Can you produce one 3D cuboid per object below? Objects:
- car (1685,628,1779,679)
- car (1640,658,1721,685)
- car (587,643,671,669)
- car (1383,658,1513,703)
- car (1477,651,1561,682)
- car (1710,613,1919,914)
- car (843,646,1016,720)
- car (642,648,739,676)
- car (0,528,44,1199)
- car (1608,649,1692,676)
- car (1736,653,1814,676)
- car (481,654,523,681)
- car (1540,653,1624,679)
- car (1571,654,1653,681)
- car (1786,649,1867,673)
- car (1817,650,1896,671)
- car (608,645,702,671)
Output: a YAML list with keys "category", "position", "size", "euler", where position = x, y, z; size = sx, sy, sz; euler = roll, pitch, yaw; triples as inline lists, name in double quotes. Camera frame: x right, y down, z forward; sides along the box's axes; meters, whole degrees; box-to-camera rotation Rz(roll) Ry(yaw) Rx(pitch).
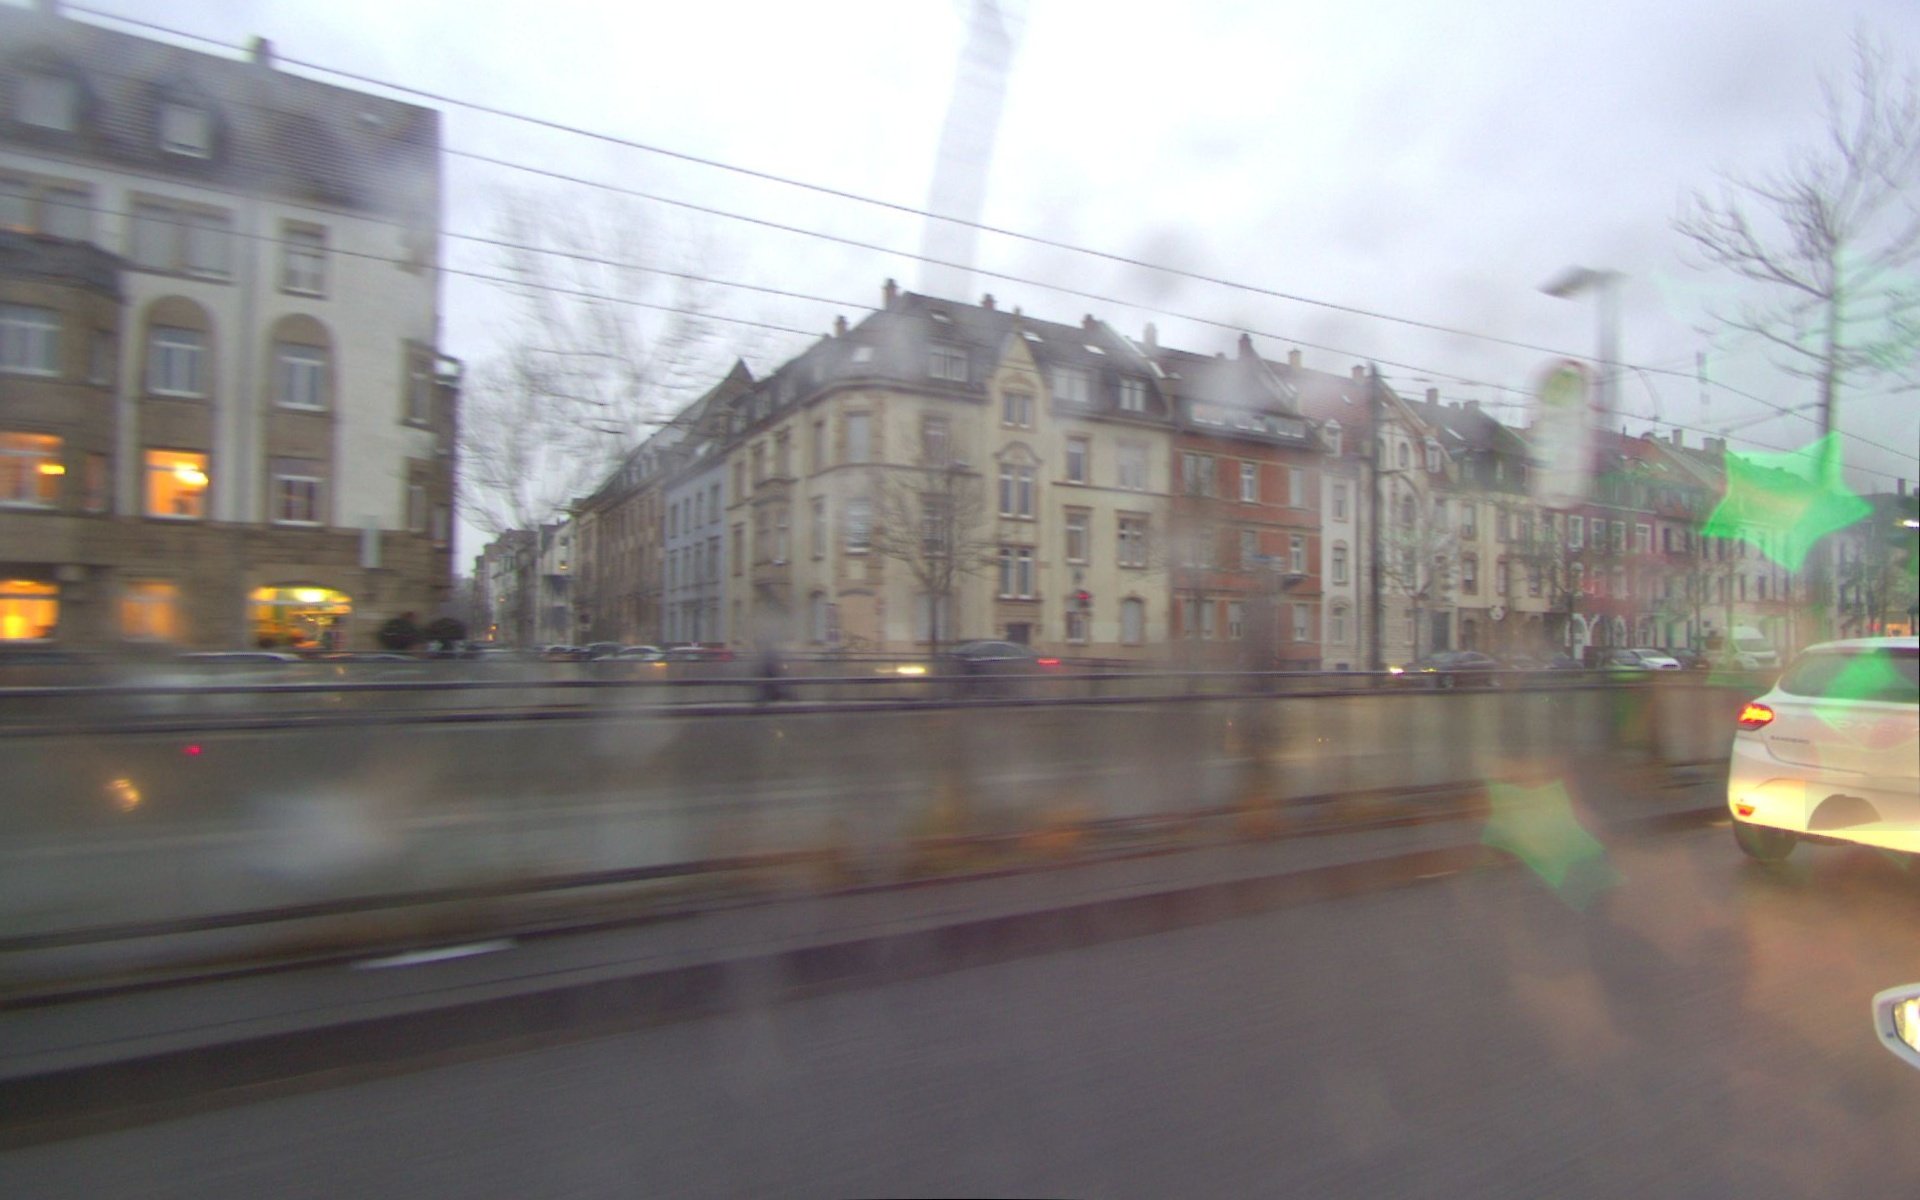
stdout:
- category: "car"
  position: [45.457, 3.153, 59.325]
  size: [1.959, 2.834, 5.872]
  euler: [0, -3, 12]
- category: "car"
  position: [39.594, 3.901, 55.343]
  size: [1.959, 1.349, 4.004]
  euler: [0, -3, 8]
- category: "car"
  position: [-18.179, 3.092, 55.222]
  size: [3.920, 1.227, 1.872]
  euler: [2, -3, 3]
- category: "car"
  position: [17.314, 2.803, 35.601]
  size: [4.644, 1.472, 1.856]
  euler: [2, -3, -30]
- category: "car"
  position: [25.769, 3.043, 46.437]
  size: [1.959, 1.349, 4.003]
  euler: [0, -3, 6]
- category: "car"
  position: [6.838, 0.943, 6.575]
  size: [4.006, 1.621, 1.664]
  euler: [2, -1, -30]
- category: "car"
  position: [-0.748, 2.029, 25.317]
  size: [3.953, 1.659, 1.856]
  euler: [2, -1, -30]
- category: "car"
  position: [-11.993, 2.778, 44.970]
  size: [3.925, 1.227, 1.869]
  euler: [0, -3, -7]
- category: "car"
  position: [-3.561, 0.586, 0.666]
  size: [4.006, 1.621, 1.801]
  euler: [2, -2, -30]
- category: "car"
  position: [36.856, 3.330, 53.792]
  size: [1.960, 1.349, 4.003]
  euler: [0, -3, 5]
- category: "car"
  position: [50.658, 3.969, 62.512]
  size: [1.959, 1.349, 4.004]
  euler: [0, -3, 8]
- category: "car"
  position: [-19.009, 2.785, 41.633]
  size: [1.316, 1.089, 2.877]
  euler: [2, -4, -30]
- category: "car"
  position: [29.934, 3.148, 48.477]
  size: [1.959, 1.184, 4.004]
  euler: [0, -3, 8]
- category: "car"
  position: [33.858, 3.478, 52.305]
  size: [1.959, 1.349, 4.003]
  euler: [0, -3, 6]
- category: "car"
  position: [56.462, 3.984, 65.551]
  size: [1.960, 1.505, 4.003]
  euler: [0, -3, 4]
- category: "car"
  position: [59.364, 3.987, 66.631]
  size: [1.959, 1.349, 4.004]
  euler: [0, -3, 8]
- category: "car"
  position: [-14.279, 2.725, 47.267]
  size: [3.925, 1.227, 1.869]
  euler: [0, -3, -7]
